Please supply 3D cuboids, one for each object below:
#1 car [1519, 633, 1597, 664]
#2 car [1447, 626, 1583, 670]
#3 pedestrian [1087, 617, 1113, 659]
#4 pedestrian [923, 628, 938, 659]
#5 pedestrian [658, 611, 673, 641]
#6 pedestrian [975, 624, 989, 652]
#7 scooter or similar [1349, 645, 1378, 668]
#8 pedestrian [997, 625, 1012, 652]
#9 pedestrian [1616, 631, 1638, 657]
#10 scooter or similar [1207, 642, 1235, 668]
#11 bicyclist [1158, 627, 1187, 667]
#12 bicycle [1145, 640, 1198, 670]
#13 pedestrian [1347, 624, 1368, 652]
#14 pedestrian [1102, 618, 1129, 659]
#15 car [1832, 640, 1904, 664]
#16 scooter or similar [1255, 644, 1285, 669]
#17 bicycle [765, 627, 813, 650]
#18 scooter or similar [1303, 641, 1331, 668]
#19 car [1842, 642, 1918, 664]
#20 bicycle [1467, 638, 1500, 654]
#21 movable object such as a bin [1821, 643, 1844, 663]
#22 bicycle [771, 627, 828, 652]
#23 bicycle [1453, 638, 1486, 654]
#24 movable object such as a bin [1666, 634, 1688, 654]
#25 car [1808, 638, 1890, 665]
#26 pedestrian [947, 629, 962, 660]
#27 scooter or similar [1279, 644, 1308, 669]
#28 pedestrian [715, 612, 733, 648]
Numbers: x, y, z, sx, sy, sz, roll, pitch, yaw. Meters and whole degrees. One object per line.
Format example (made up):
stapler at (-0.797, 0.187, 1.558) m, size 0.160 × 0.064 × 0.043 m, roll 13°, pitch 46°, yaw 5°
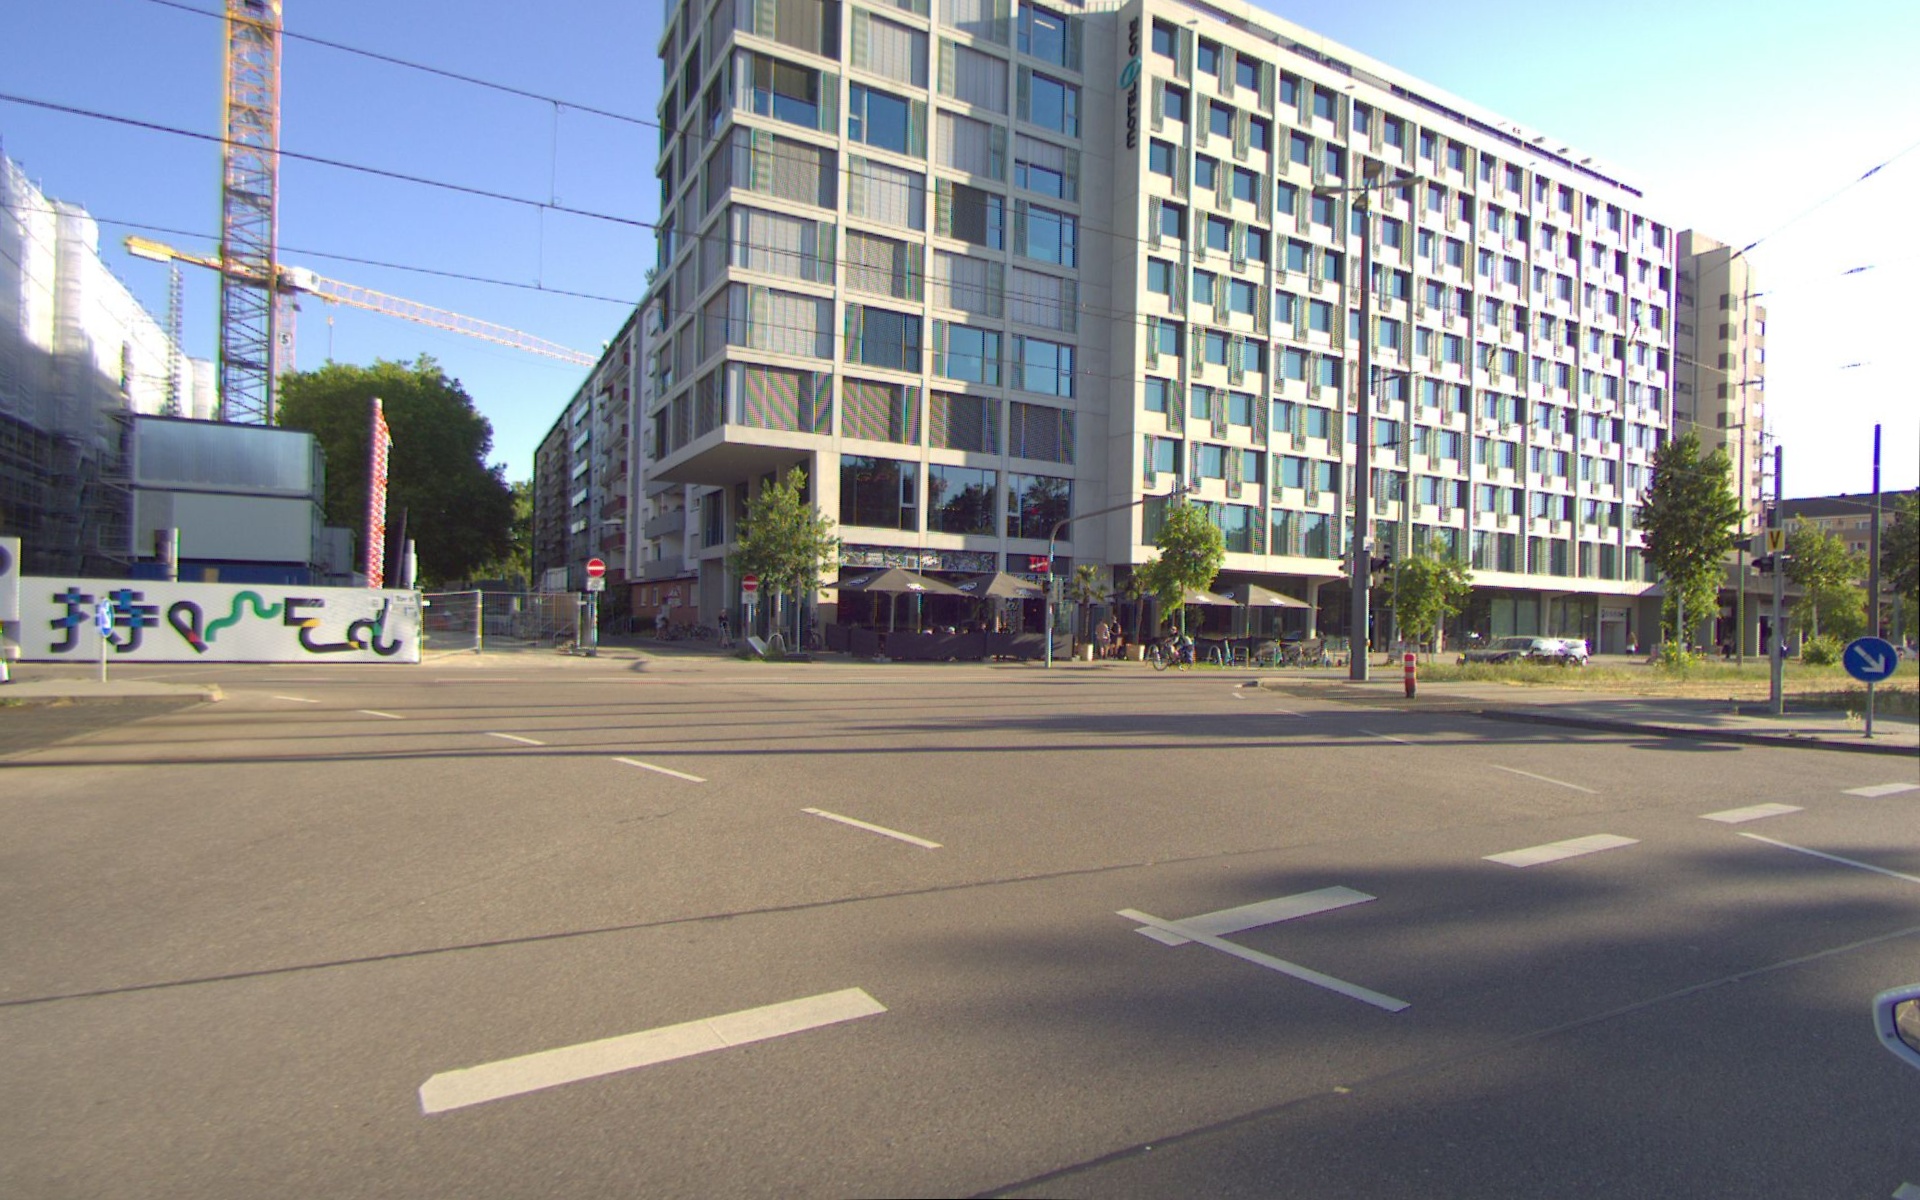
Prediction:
car at (32.139, 2.598, 53.971) m, size 3.824 × 1.512 × 1.878 m, roll 2°, pitch 0°, yaw -28°
car at (18.857, 1.618, 34.085) m, size 4.794 × 1.361 × 1.882 m, roll 2°, pitch -1°, yaw -30°
pedestrian at (6.015, 1.629, 43.199) m, size 0.791 × 1.744 × 0.868 m, roll 1°, pitch -1°, yaw -20°
pedestrian at (-1.155, 1.705, 39.384) m, size 0.428 × 1.209 × 0.362 m, roll 2°, pitch -1°, yaw -32°
pedestrian at (-15.820, 1.403, 53.902) m, size 0.695 × 1.555 × 0.580 m, roll 2°, pitch -1°, yaw -23°
pedestrian at (0.997, 1.717, 45.252) m, size 0.491 × 1.238 × 0.430 m, roll 2°, pitch -1°, yaw -29°
scooter or similar at (18.506, 2.585, 46.072) m, size 0.429 × 1.033 × 1.238 m, roll 2°, pitch -1°, yaw -28°
pedestrian at (2.041, 1.753, 45.834) m, size 0.491 × 1.238 × 0.430 m, roll 2°, pitch -1°, yaw -29°
pedestrian at (45.012, 2.961, 67.766) m, size 0.958 × 1.675 × 0.840 m, roll 2°, pitch -1°, yaw -28°
scooter or similar at (10.965, 2.300, 42.230) m, size 0.401 × 1.019 × 1.238 m, roll 2°, pitch -1°, yaw -28°
bicyclist at (8.094, 1.782, 38.237) m, size 0.841 × 1.484 × 0.622 m, roll 2°, pitch -1°, yaw -29°
bicycle at (8.064, 2.102, 38.226) m, size 2.053 × 1.081 × 0.622 m, roll 2°, pitch -1°, yaw -29°
pedestrian at (23.999, 2.281, 60.604) m, size 1.040 × 1.692 × 0.977 m, roll 1°, pitch -1°, yaw 31°
pedestrian at (6.731, 1.653, 43.525) m, size 0.791 × 1.744 × 0.868 m, roll 1°, pitch -1°, yaw -20°
car at (68.112, 3.891, 75.410) m, size 3.554 × 1.543 × 1.621 m, roll 3°, pitch 1°, yaw 20°
scooter or similar at (13.292, 2.408, 43.112) m, size 0.504 × 1.033 × 1.238 m, roll 2°, pitch -1°, yaw -28°
bicycle at (-7.083, 1.597, 41.703) m, size 1.879 × 0.948 × 0.533 m, roll 2°, pitch -1°, yaw -31°
scooter or similar at (15.919, 2.419, 44.790) m, size 0.401 × 1.187 × 1.238 m, roll 2°, pitch -1°, yaw -28°
car at (70.459, 4.040, 76.989) m, size 3.919 × 1.472 × 1.788 m, roll 2°, pitch 0°, yaw 13°
bicycle at (32.634, 2.887, 62.635) m, size 0.507 × 0.917 × 1.792 m, roll 2°, pitch -1°, yaw -35°
movable object such as a bin at (61.026, 3.710, 70.234) m, size 0.924 × 1.297 × 0.858 m, roll 2°, pitch -1°, yaw -15°
bicycle at (-6.527, 1.619, 40.936) m, size 2.191 × 0.948 × 0.615 m, roll 2°, pitch -1°, yaw -31°
bicycle at (31.604, 2.856, 62.296) m, size 0.507 × 0.917 × 1.792 m, roll 2°, pitch -1°, yaw -35°
movable object such as a bin at (53.210, 3.276, 74.534) m, size 1.386 × 1.459 × 0.796 m, roll 2°, pitch -1°, yaw -30°
car at (65.023, 3.763, 73.532) m, size 4.016 × 1.622 × 1.750 m, roll 3°, pitch 2°, yaw 20°
pedestrian at (-0.205, 1.738, 39.435) m, size 0.428 × 1.209 × 0.362 m, roll 2°, pitch -1°, yaw -32°
scooter or similar at (14.584, 2.452, 43.890) m, size 0.429 × 1.033 × 1.238 m, roll 2°, pitch -1°, yaw -28°
pedestrian at (-10.238, 1.301, 43.533) m, size 0.570 × 1.518 × 0.583 m, roll 2°, pitch -1°, yaw -31°
